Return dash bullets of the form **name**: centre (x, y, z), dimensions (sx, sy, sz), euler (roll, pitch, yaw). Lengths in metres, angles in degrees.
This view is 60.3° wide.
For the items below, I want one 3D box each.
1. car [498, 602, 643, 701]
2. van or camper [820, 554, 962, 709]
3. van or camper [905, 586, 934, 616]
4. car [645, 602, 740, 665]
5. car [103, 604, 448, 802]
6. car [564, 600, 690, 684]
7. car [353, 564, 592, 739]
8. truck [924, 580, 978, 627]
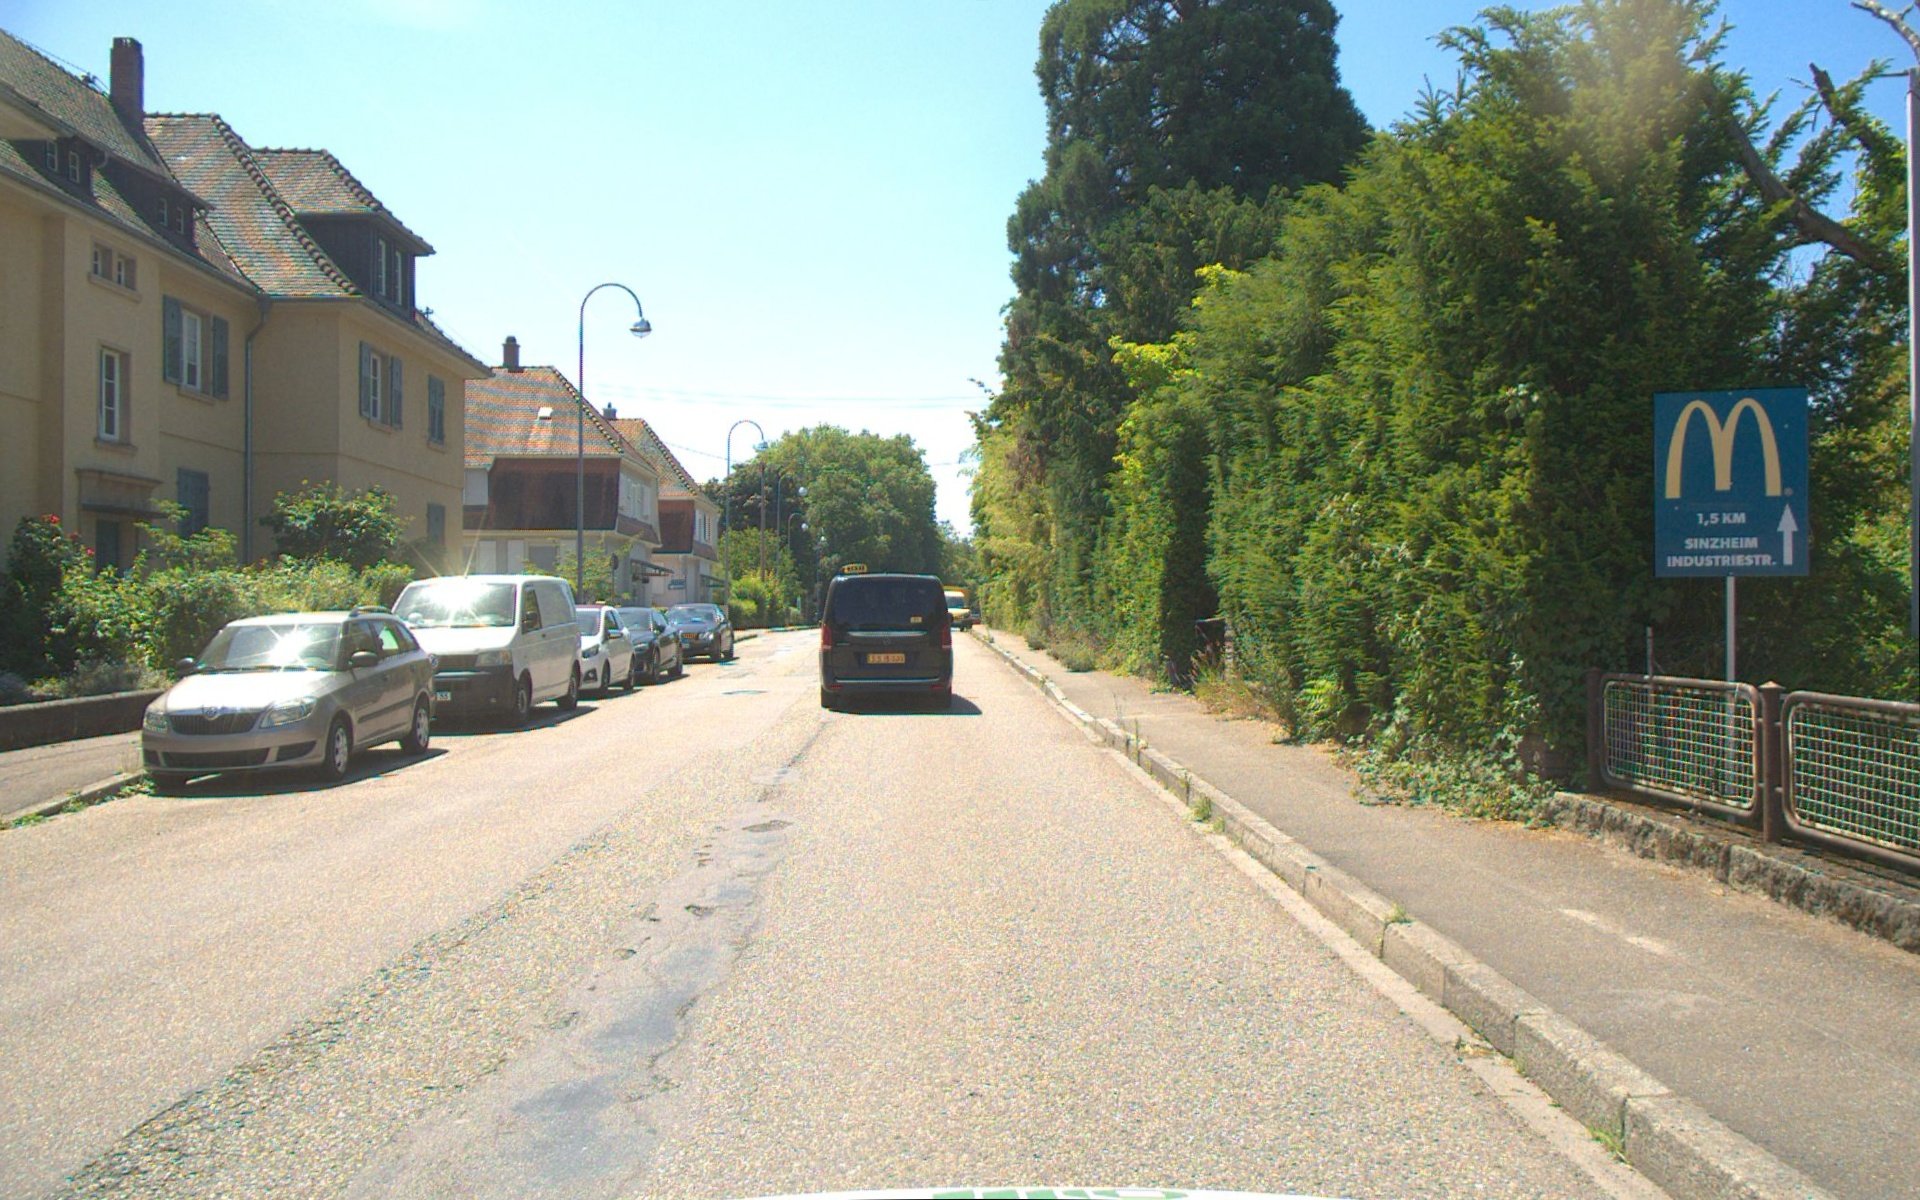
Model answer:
- **car**: centre (-6.406, 0.804, 27.538), dimensions (1.632, 1.519, 3.477), euler (-1, 0, -1)
- **van or camper**: centre (-0.962, 0.436, 24.738), dimensions (1.864, 2.049, 5.268), euler (1, 0, -1)
- **van or camper**: centre (-2.809, 0.065, 116.034), dimensions (1.953, 2.049, 3.999), euler (0, 0, 0)
- **car**: centre (-6.600, 0.790, 41.230), dimensions (1.632, 1.410, 4.380), euler (-2, 0, 0)
- **car**: centre (-6.315, 0.857, 15.785), dimensions (1.653, 1.552, 4.061), euler (-3, 0, -2)
- **car**: centre (-6.425, 0.770, 32.349), dimensions (1.632, 1.519, 4.464), euler (0, 0, -1)
- **car**: centre (-6.323, 0.604, 22.025), dimensions (1.840, 1.997, 4.624), euler (-3, 0, -2)
- **truck**: centre (-0.528, 0.185, 84.672), dimensions (2.310, 2.298, 6.085), euler (0, 0, -5)
